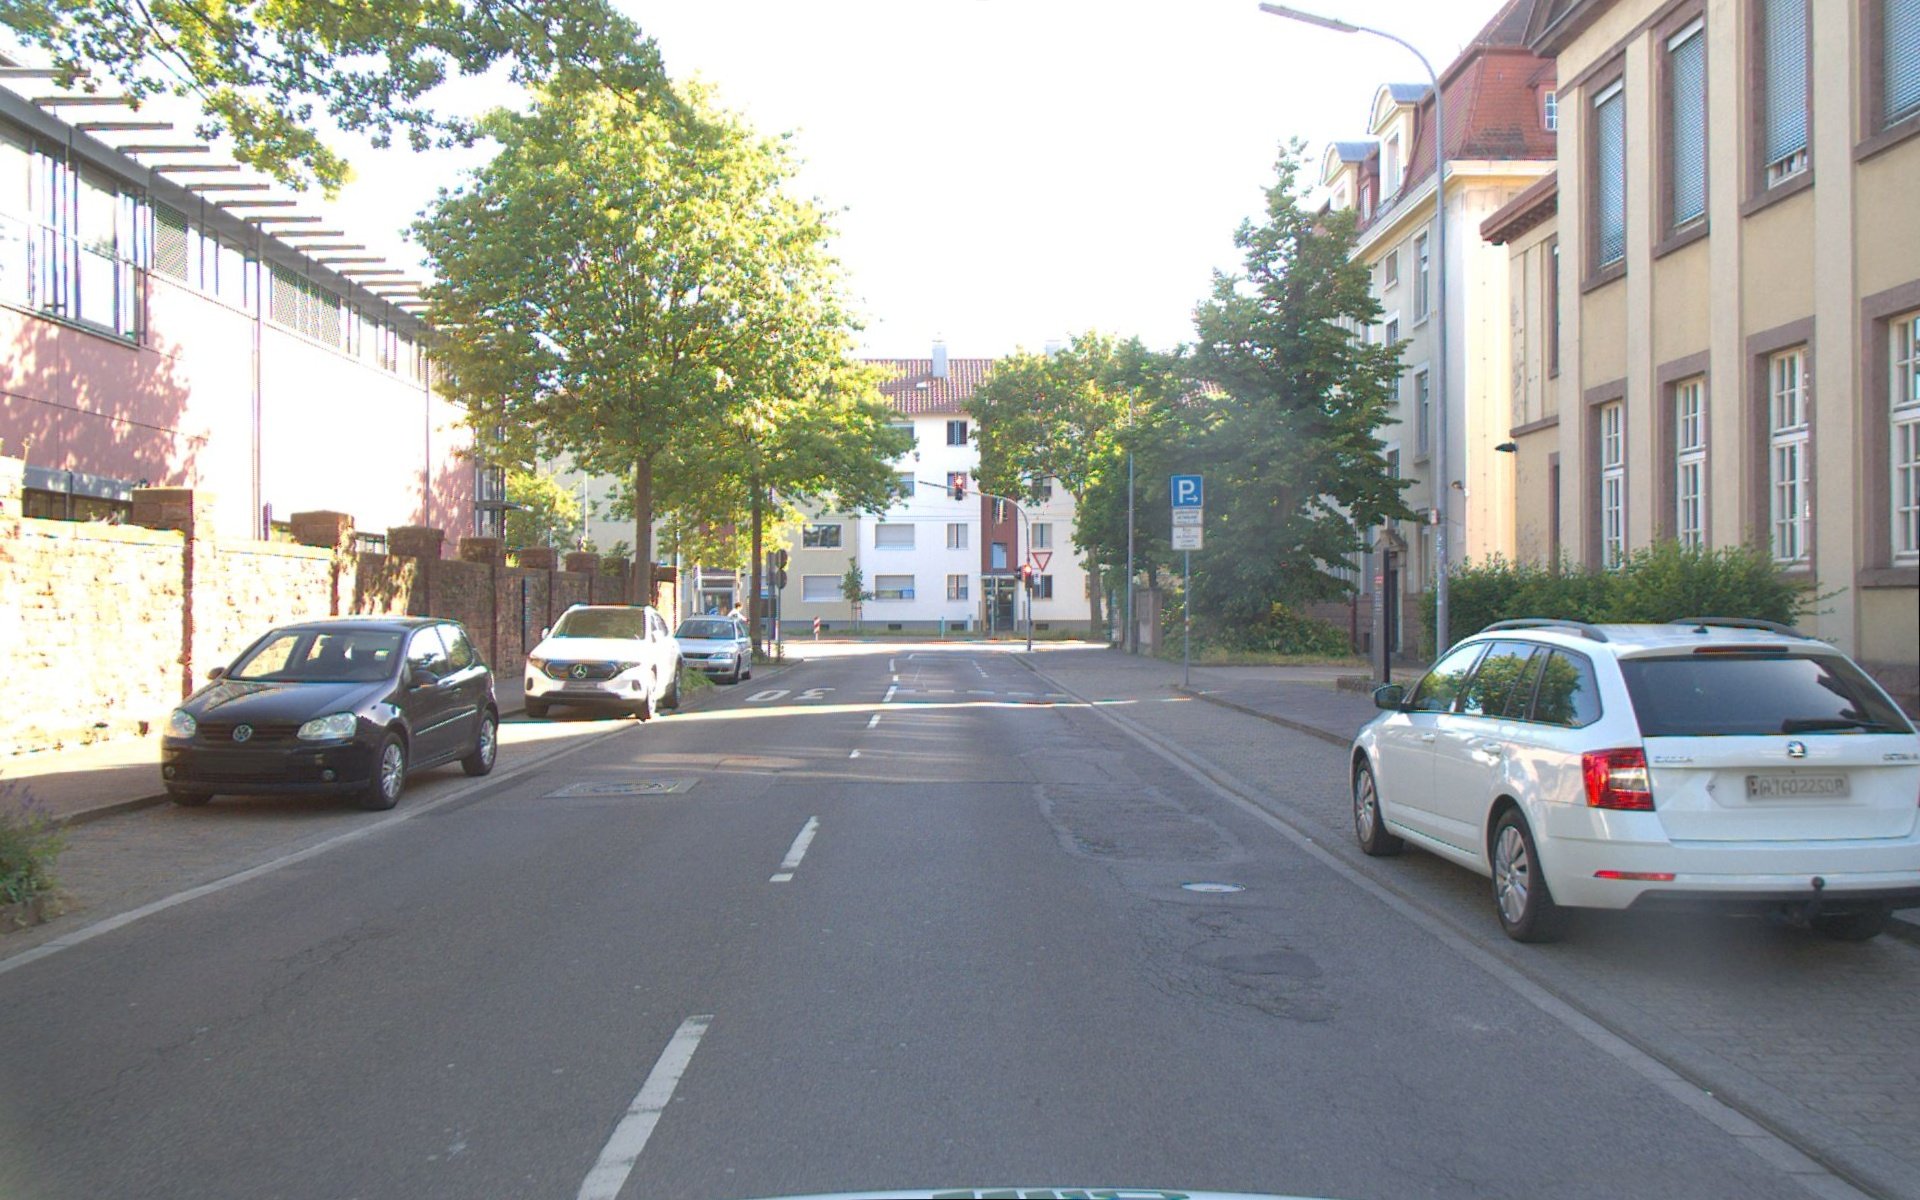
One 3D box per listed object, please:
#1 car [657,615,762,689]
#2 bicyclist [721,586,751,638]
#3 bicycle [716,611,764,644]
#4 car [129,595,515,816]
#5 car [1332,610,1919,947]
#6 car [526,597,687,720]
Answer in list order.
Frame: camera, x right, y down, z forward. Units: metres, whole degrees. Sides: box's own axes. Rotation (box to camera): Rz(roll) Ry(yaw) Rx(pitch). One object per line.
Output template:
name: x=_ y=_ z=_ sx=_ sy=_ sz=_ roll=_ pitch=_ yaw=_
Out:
car: x=-5.512 y=1.108 z=36.889 sx=1.691 sy=1.501 sz=4.477 roll=2 pitch=-1 yaw=-1
bicyclist: x=-7.694 y=0.406 z=56.803 sx=0.782 sy=1.788 sz=0.603 roll=1 pitch=-1 yaw=-42
bicycle: x=-7.564 y=0.940 z=56.858 sx=1.672 sy=1.099 sz=0.347 roll=1 pitch=-1 yaw=-39
car: x=-5.269 y=0.792 z=14.287 sx=1.701 sy=1.620 sz=4.106 roll=0 pitch=0 yaw=0
car: x=3.483 y=0.739 z=8.976 sx=1.795 sy=1.346 sz=4.494 roll=-1 pitch=0 yaw=-2
car: x=-5.305 y=0.830 z=25.315 sx=1.685 sy=1.713 sz=4.348 roll=0 pitch=0 yaw=-2
